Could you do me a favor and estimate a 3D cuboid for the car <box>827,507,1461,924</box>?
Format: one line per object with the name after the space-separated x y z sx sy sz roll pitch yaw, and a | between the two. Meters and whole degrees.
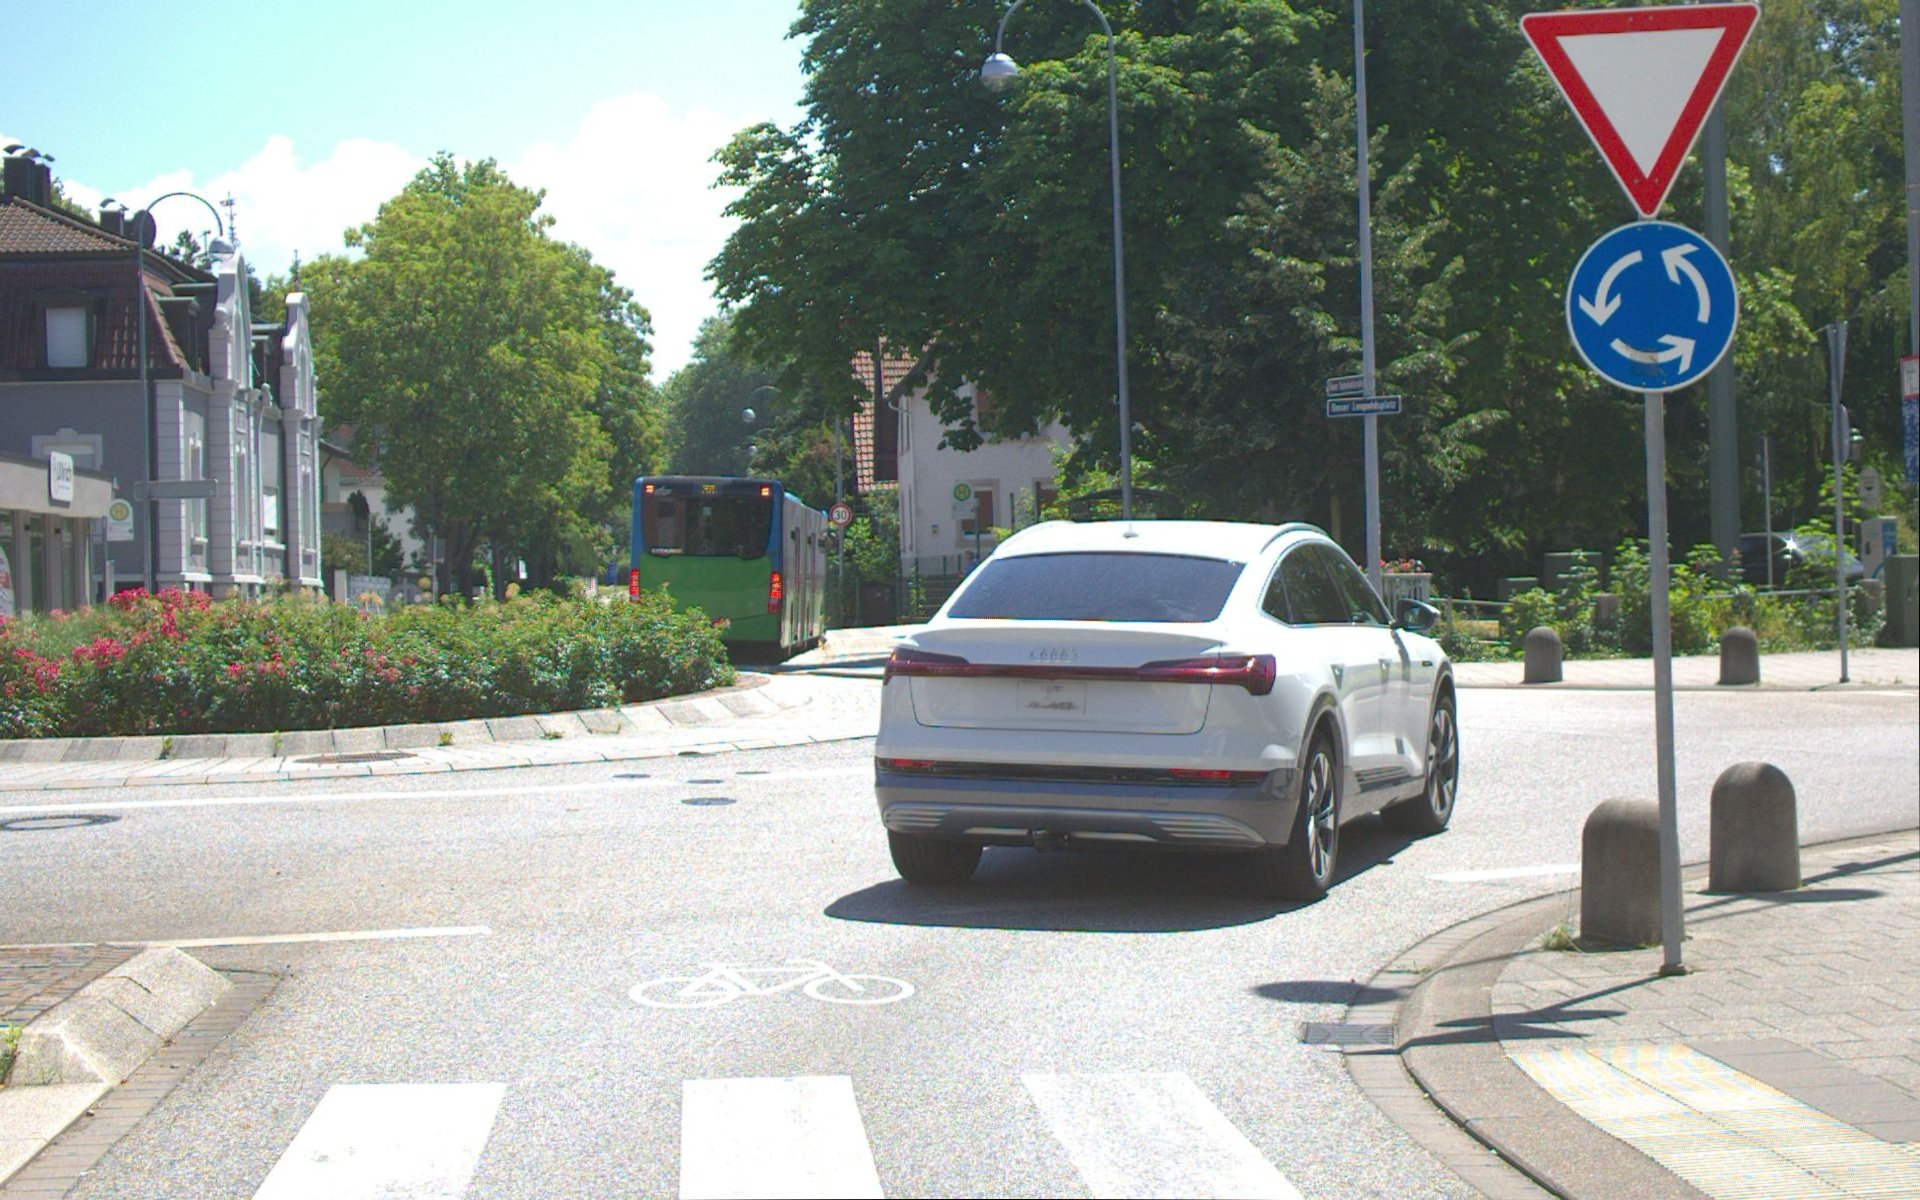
1.036 0.407 16.294 1.900 1.656 4.406 2 2 18 | car

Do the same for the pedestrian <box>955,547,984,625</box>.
0.207 -0.299 72.861 0.502 1.644 0.580 -1 1 -9 | pedestrian

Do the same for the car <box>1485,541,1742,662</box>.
9.020 0.011 47.517 3.048 1.547 1.635 -2 1 -16 | car

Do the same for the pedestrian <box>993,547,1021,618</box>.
1.006 -0.381 74.213 0.488 1.517 0.543 -1 1 -9 | pedestrian

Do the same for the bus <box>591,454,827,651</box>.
-4.419 -0.800 64.851 3.706 3.160 18.070 1 0 -2 | bus
